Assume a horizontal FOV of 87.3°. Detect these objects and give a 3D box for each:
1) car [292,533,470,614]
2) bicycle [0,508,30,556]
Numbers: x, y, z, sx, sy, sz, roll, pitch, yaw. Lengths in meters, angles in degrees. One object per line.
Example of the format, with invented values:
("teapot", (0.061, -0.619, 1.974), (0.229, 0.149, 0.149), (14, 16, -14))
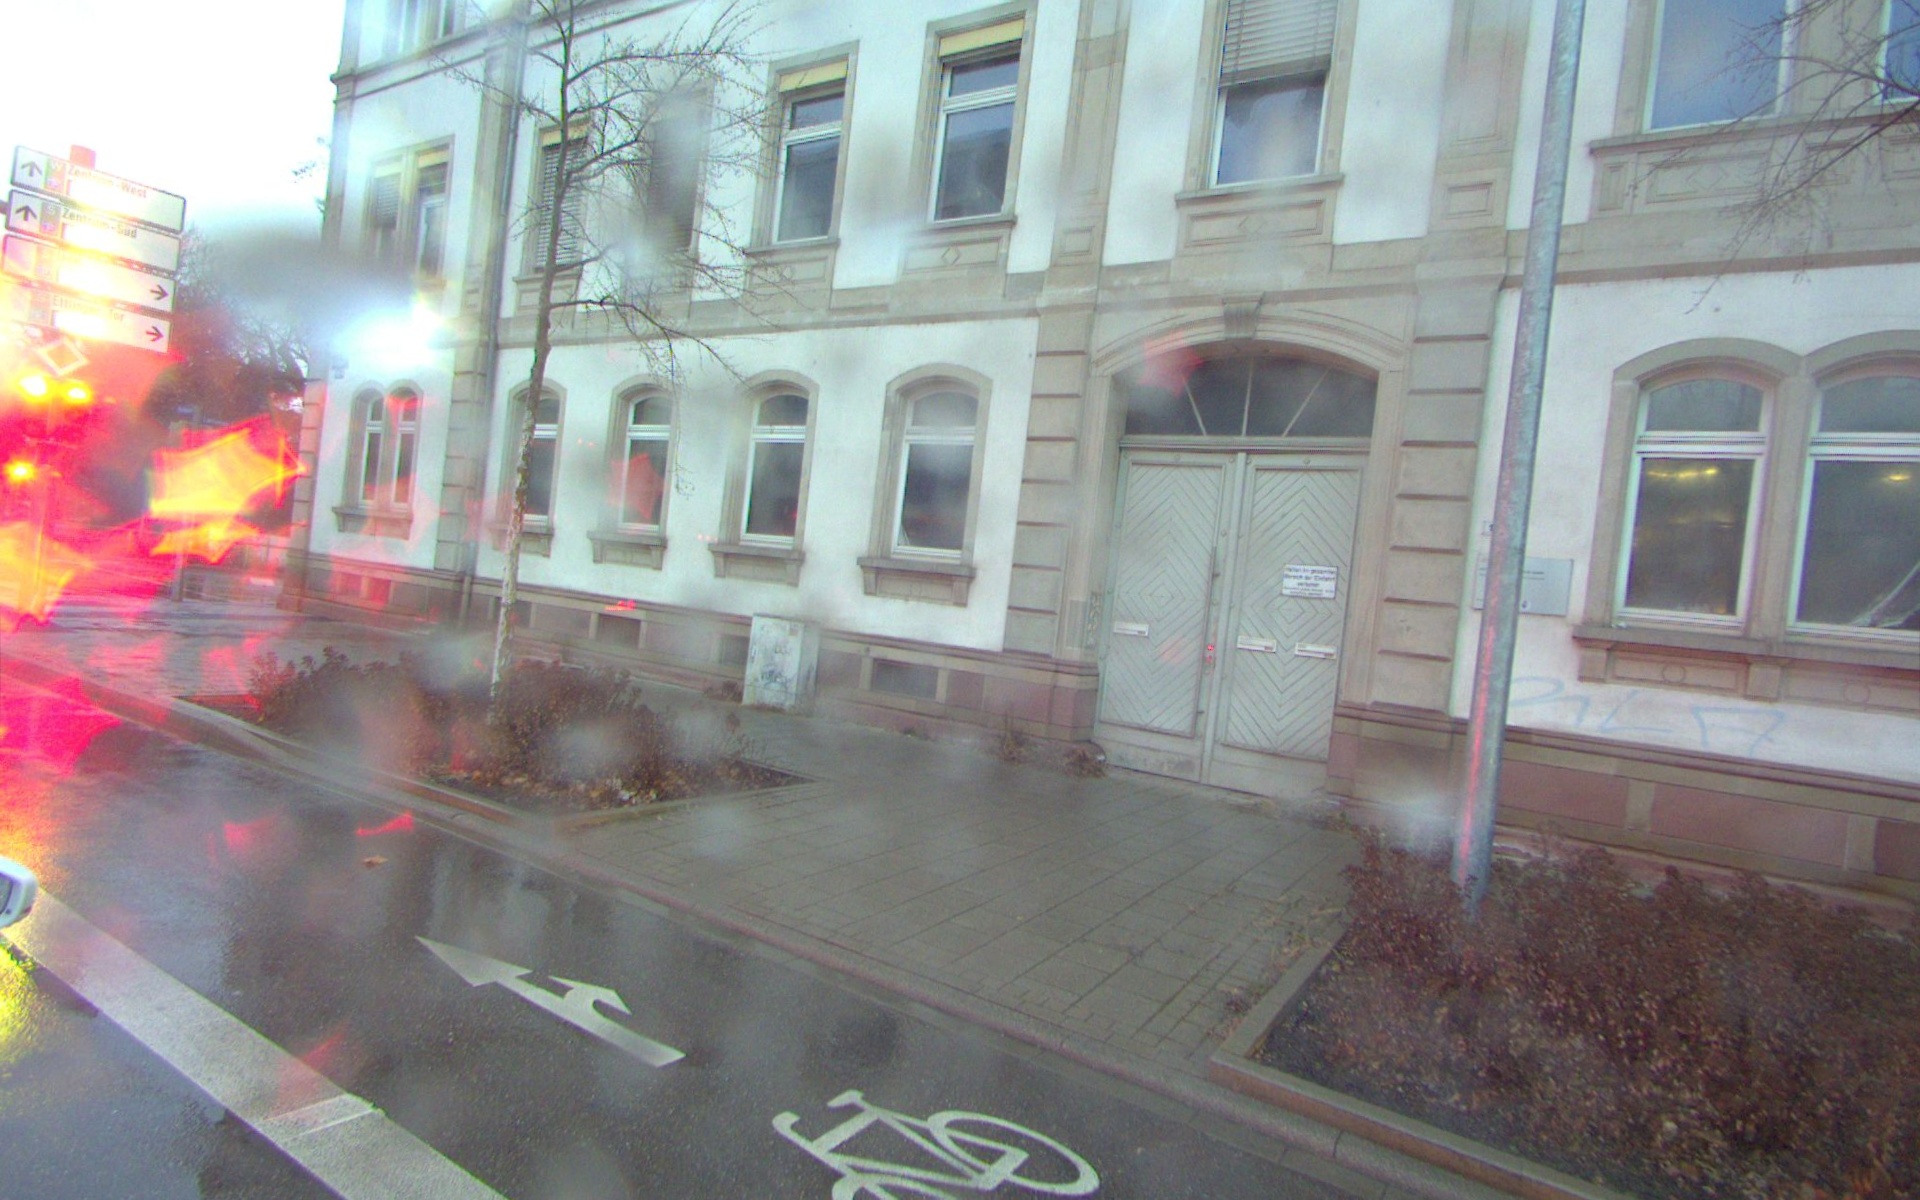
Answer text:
("car", (-16.155, -0.699, 28.141), (3.971, 1.640, 1.701), (9, -3, -39))
("bicycle", (-24.757, -1.858, 24.740), (0.804, 1.101, 2.663), (5, -3, 44))
